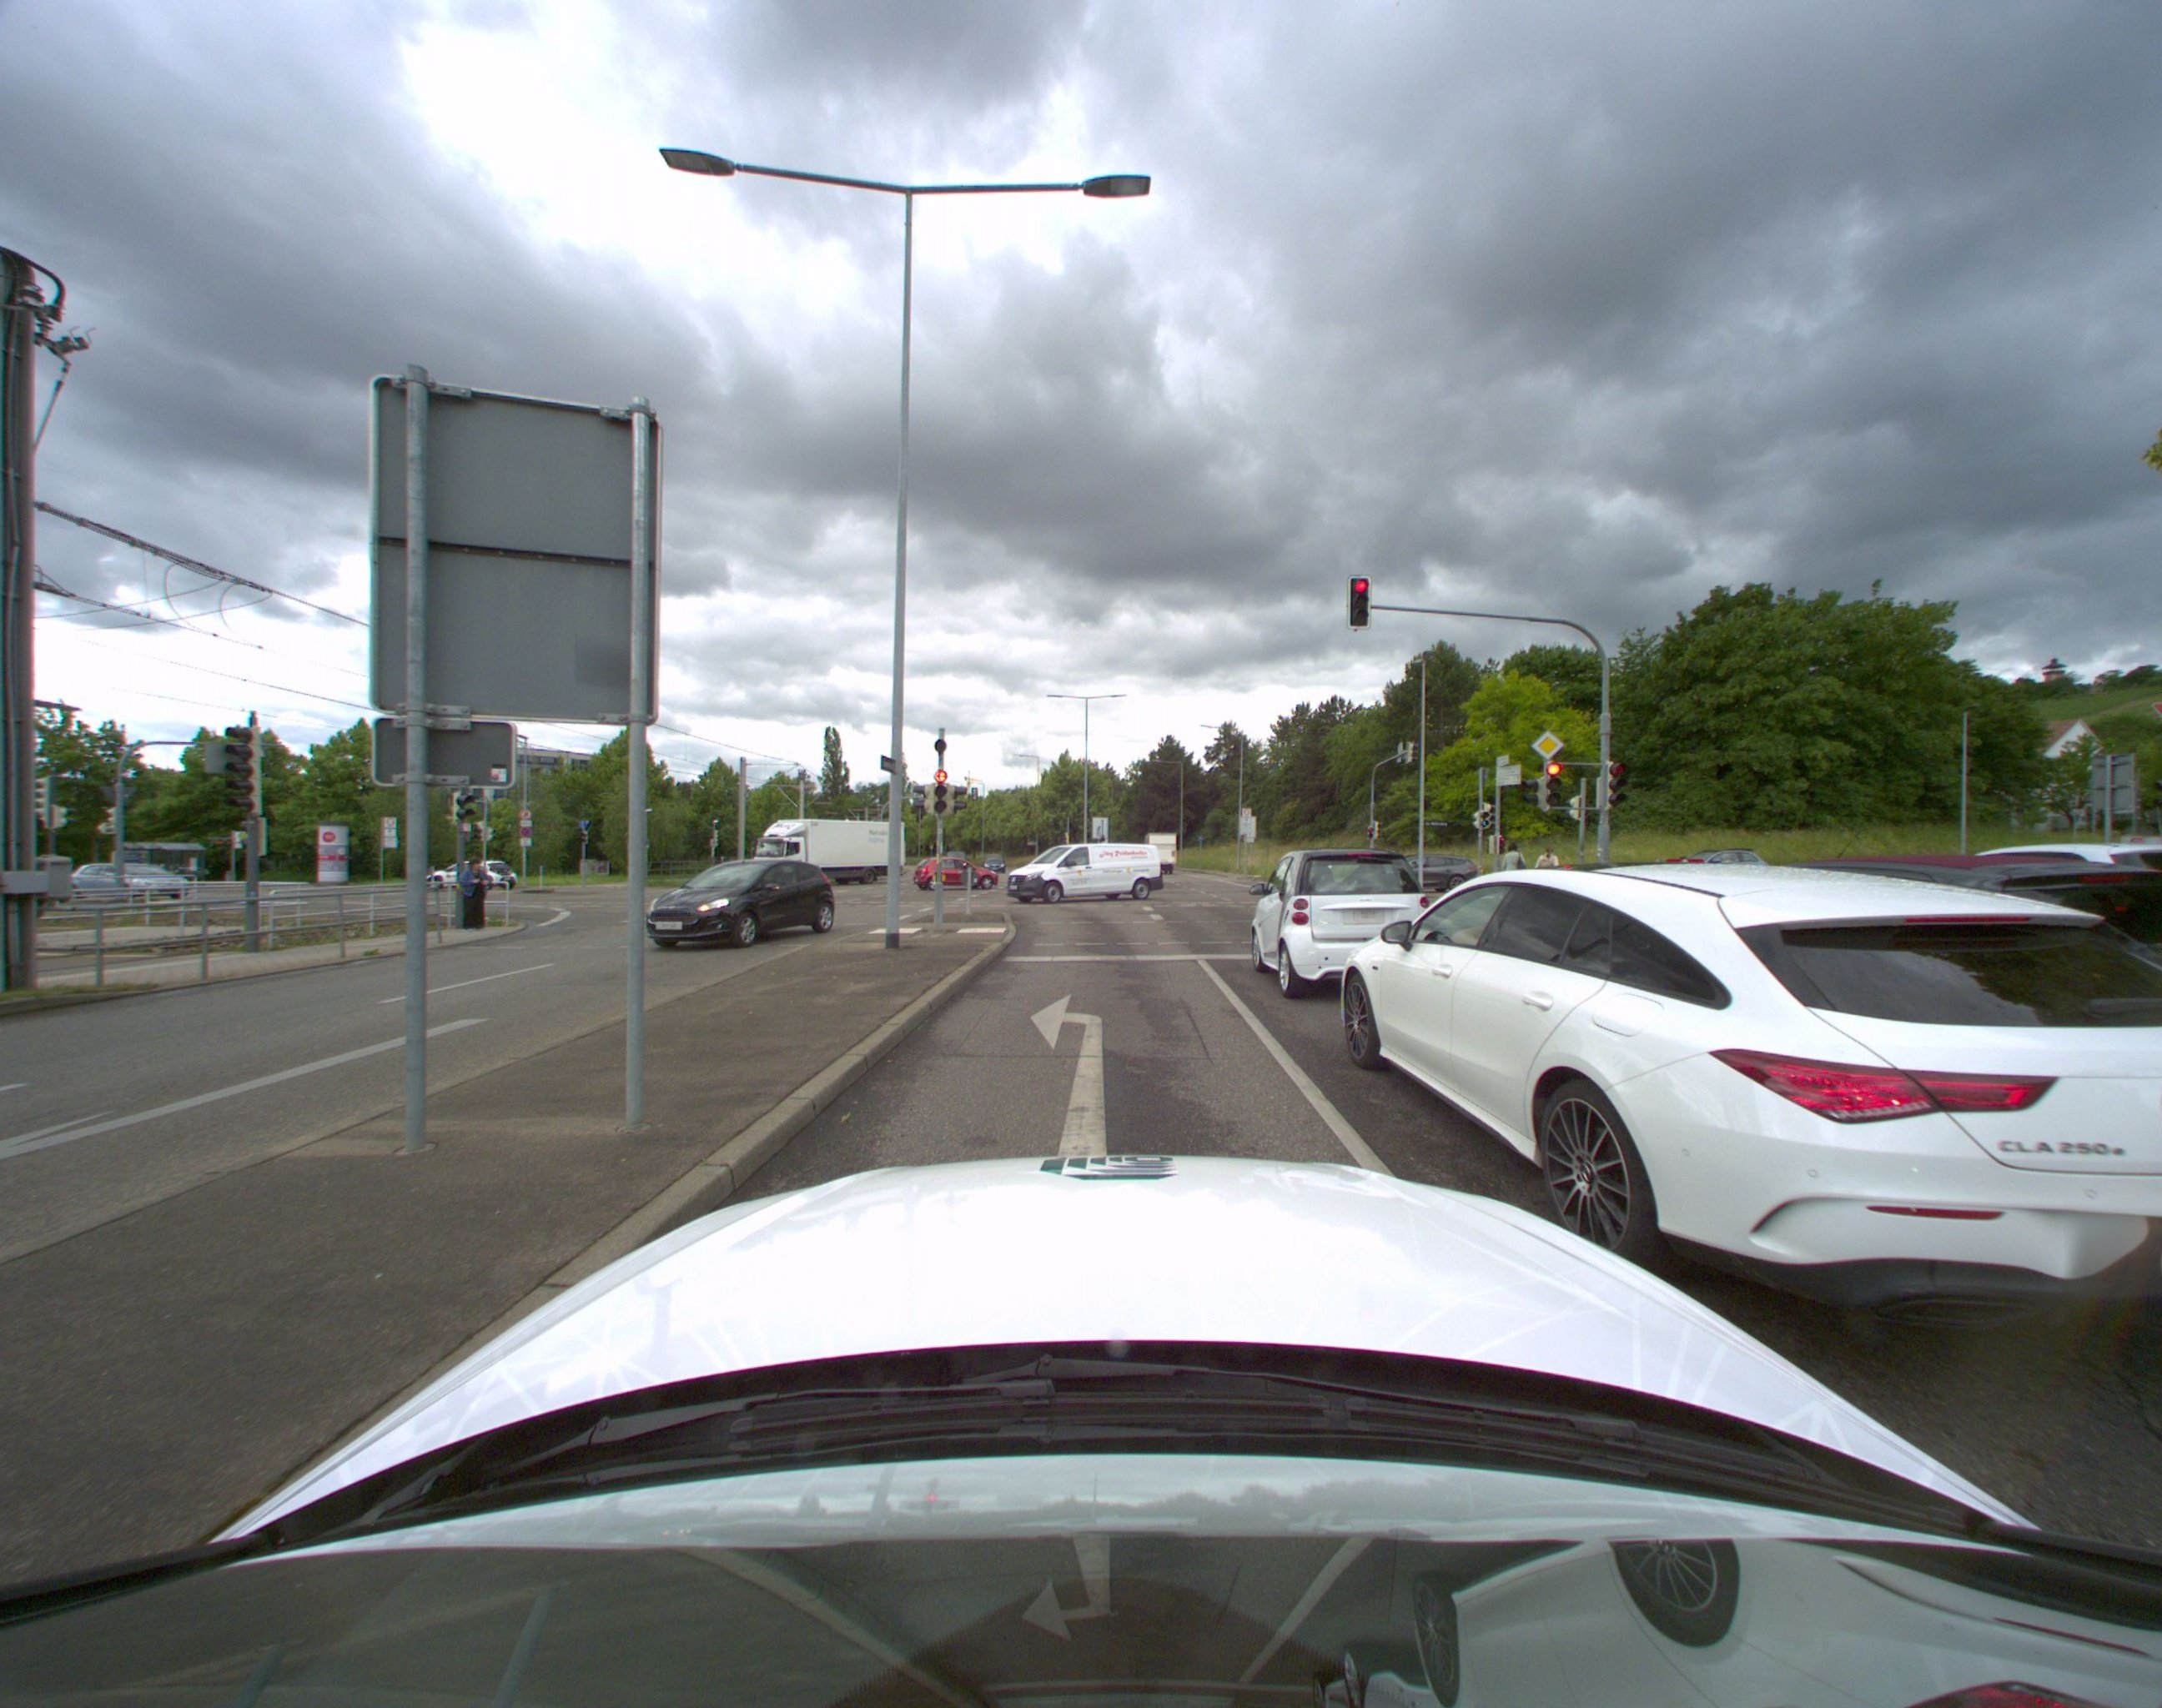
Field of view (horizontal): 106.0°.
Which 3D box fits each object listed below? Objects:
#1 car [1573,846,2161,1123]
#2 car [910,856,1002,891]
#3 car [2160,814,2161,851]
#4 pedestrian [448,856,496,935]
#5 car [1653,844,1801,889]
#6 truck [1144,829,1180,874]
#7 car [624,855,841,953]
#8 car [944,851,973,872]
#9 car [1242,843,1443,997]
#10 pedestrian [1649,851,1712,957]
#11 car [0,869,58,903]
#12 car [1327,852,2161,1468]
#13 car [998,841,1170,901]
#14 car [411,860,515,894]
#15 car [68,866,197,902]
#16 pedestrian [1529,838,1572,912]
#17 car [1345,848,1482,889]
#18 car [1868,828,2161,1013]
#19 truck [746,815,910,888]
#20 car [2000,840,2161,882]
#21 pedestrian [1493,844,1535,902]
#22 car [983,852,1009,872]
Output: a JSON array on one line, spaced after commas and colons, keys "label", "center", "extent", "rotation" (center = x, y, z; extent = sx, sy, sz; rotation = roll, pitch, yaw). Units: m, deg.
[{"label": "car", "center": [5.681, 0.667, 6.183], "extent": [1.540, 1.404, 4.001], "rotation": [-1, 0, 1]}, {"label": "car", "center": [-5.911, 0.889, 38.579], "extent": [4.009, 1.516, 1.717], "rotation": [-1, 0, -27]}, {"label": "car", "center": [67.936, -1.292, 48.045], "extent": [2.161, 2.539, 5.802], "rotation": [0, 3, 18]}, {"label": "pedestrian", "center": [-12.654, 0.850, 16.923], "extent": [0.349, 1.556, 0.657], "rotation": [1, 3, 36]}, {"label": "car", "center": [23.864, 0.454, 30.223], "extent": [3.968, 1.601, 1.840], "rotation": [-1, 0, 4]}, {"label": "truck", "center": [6.823, -0.212, 69.501], "extent": [2.672, 3.598, 7.270], "rotation": [-1, 0, 3]}, {"label": "car", "center": [-6.050, 0.785, 14.649], "extent": [1.623, 1.480, 3.791], "rotation": [-1, 0, 13]}, {"label": "car", "center": [-10.456, 0.626, 69.824], "extent": [1.910, 1.728, 3.999], "rotation": [-1, 0, 0]}, {"label": "car", "center": [2.851, 0.653, 9.405], "extent": [1.529, 1.504, 2.671], "rotation": [-1, 0, 2]}, {"label": "pedestrian", "center": [8.333, 0.685, 11.336], "extent": [0.607, 1.453, 0.355], "rotation": [0, 0, 10]}, {"label": "car", "center": [-45.165, 1.325, 34.038], "extent": [3.264, 1.310, 1.556], "rotation": [-1, 0, 8]}, {"label": "car", "center": [2.686, 0.720, 4.089], "extent": [1.715, 1.421, 4.359], "rotation": [-1, 0, 2]}, {"label": "car", "center": [0.154, 0.540, 26.826], "extent": [5.455, 1.815, 1.979], "rotation": [0, -2, -33]}, {"label": "car", "center": [-30.724, 1.130, 40.568], "extent": [3.722, 1.507, 1.781], "rotation": [-1, 3, -1]}, {"label": "car", "center": [-38.412, 1.215, 33.000], "extent": [3.963, 1.377, 1.522], "rotation": [0, 0, 9]}, {"label": "pedestrian", "center": [10.800, 0.475, 18.734], "extent": [0.607, 1.633, 0.616], "rotation": [3, 1, 9]}, {"label": "car", "center": [12.661, 0.545, 31.237], "extent": [4.472, 1.461, 2.002], "rotation": [-1, 0, 3]}, {"label": "car", "center": [10.927, 0.587, 9.005], "extent": [1.687, 1.637, 4.266], "rotation": [1, 1, 22]}, {"label": "truck", "center": [-13.831, -0.135, 45.669], "extent": [2.635, 3.649, 9.561], "rotation": [0, 0, 29]}, {"label": "car", "center": [36.500, 0.264, 29.615], "extent": [3.964, 1.449, 1.691], "rotation": [0, 0, 8]}, {"label": "pedestrian", "center": [11.699, 0.503, 22.011], "extent": [0.862, 1.560, 0.517], "rotation": [-1, 1, -3]}, {"label": "car", "center": [-7.120, 0.677, 68.693], "extent": [1.911, 1.576, 3.997], "rotation": [-1, 0, -2]}]
